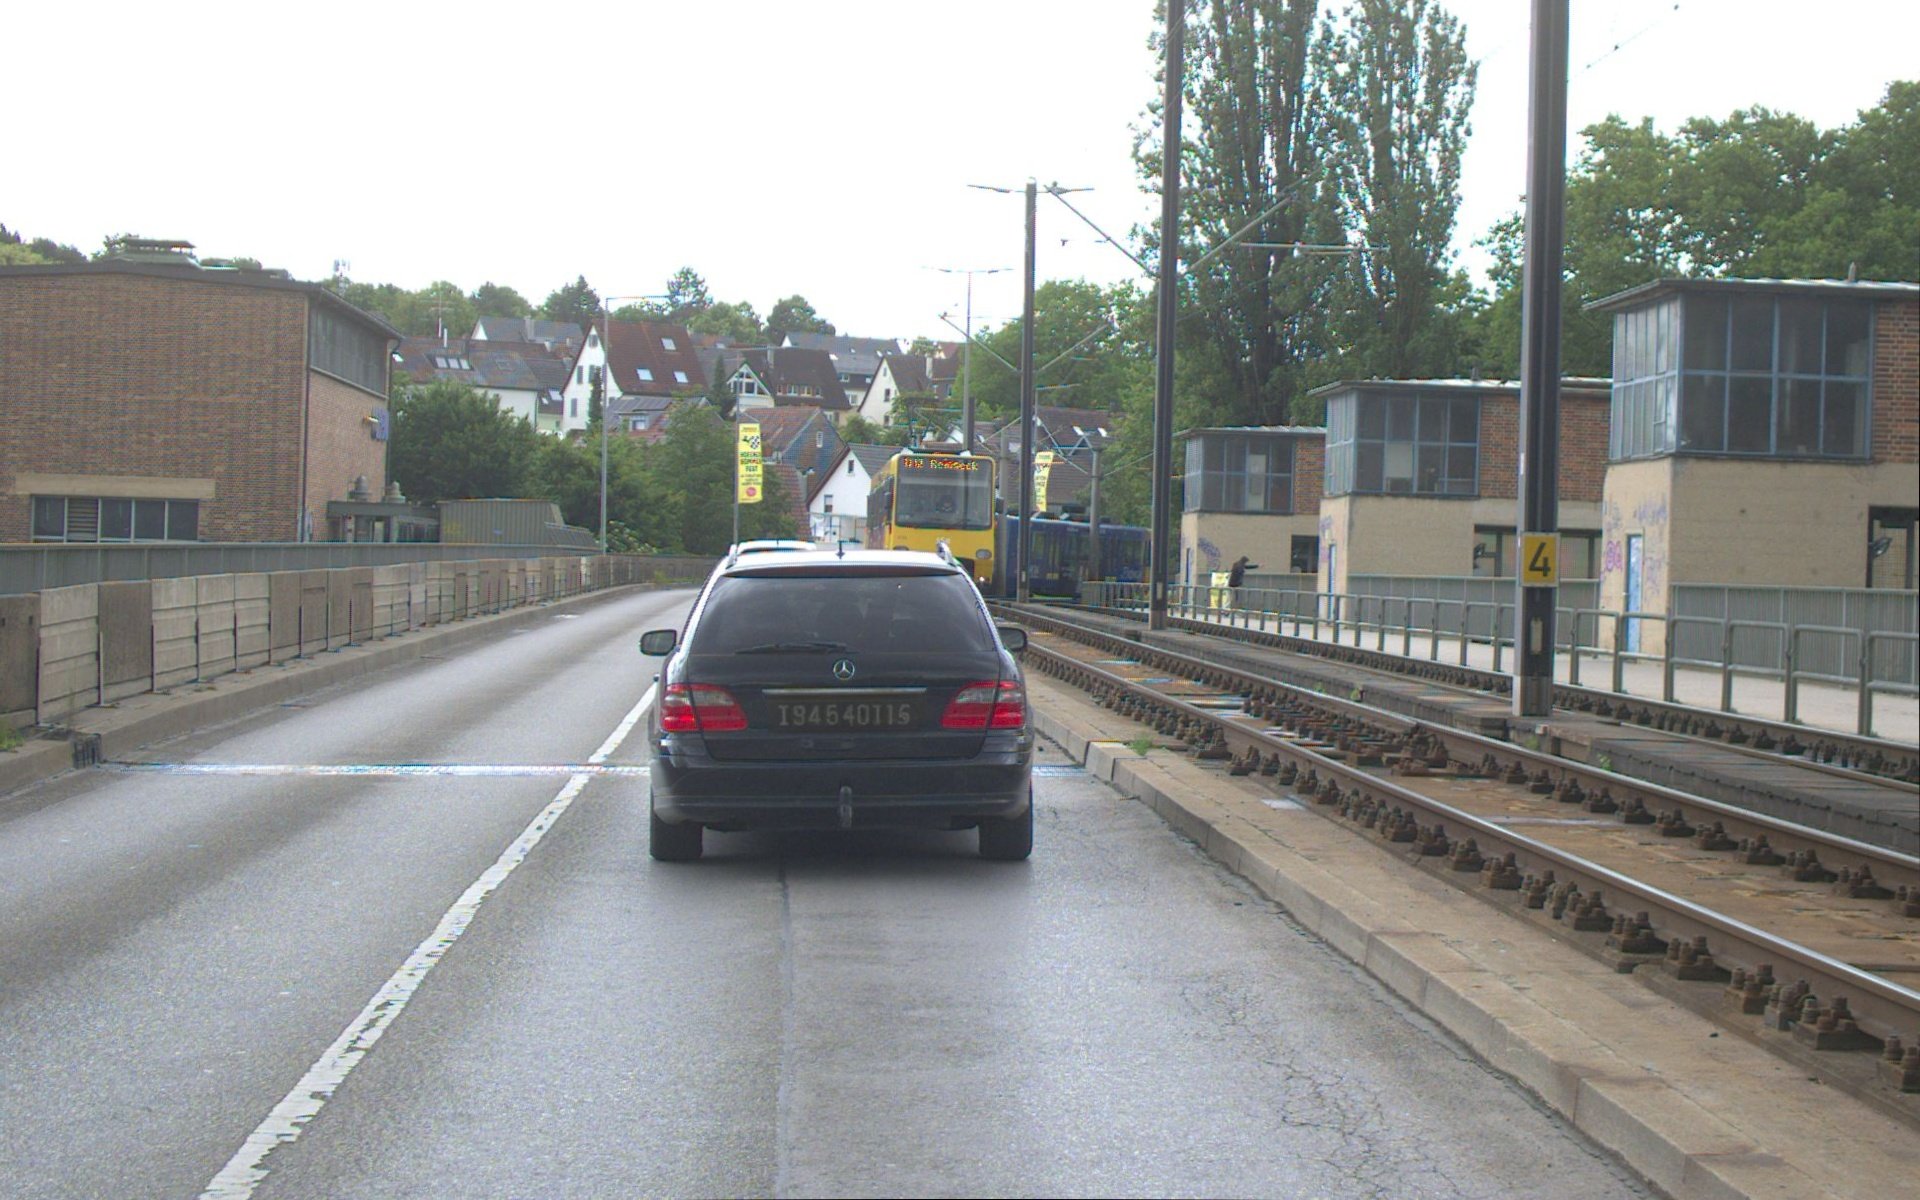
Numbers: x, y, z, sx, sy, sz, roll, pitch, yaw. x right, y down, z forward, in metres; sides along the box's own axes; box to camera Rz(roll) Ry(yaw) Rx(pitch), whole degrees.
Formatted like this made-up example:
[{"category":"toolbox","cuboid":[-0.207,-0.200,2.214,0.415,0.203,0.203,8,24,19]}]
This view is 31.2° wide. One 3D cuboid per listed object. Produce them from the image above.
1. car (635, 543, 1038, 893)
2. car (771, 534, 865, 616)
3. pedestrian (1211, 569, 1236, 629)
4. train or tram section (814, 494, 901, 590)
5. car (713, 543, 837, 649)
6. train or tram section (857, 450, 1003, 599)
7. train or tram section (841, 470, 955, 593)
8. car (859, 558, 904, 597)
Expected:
[{"category":"car","cuboid":[-0.591,0.481,17.291,1.759,1.510,4.443,0,1,-1]},{"category":"car","cuboid":[-2.821,-0.525,68.766,1.792,1.550,4.386,-1,1,-2]},{"category":"pedestrian","cuboid":[7.128,-0.031,92.967,0.577,1.604,0.613,1,0,-2]},{"category":"train or tram section","cuboid":[-4.539,-2.353,148.082,2.793,3.751,19.895,2,0,-4]},{"category":"car","cuboid":[-2.937,-0.100,53.947,1.770,1.550,4.241,1,1,-5]},{"category":"train or tram section","cuboid":[-0.984,-1.890,90.294,2.882,3.497,18.669,0,1,-3]},{"category":"train or tram section","cuboid":[-2.119,-2.099,108.932,2.829,3.568,18.669,0,1,-3]},{"category":"car","cuboid":[-3.280,-0.939,143.040,1.770,1.507,4.241,2,1,-2]}]
